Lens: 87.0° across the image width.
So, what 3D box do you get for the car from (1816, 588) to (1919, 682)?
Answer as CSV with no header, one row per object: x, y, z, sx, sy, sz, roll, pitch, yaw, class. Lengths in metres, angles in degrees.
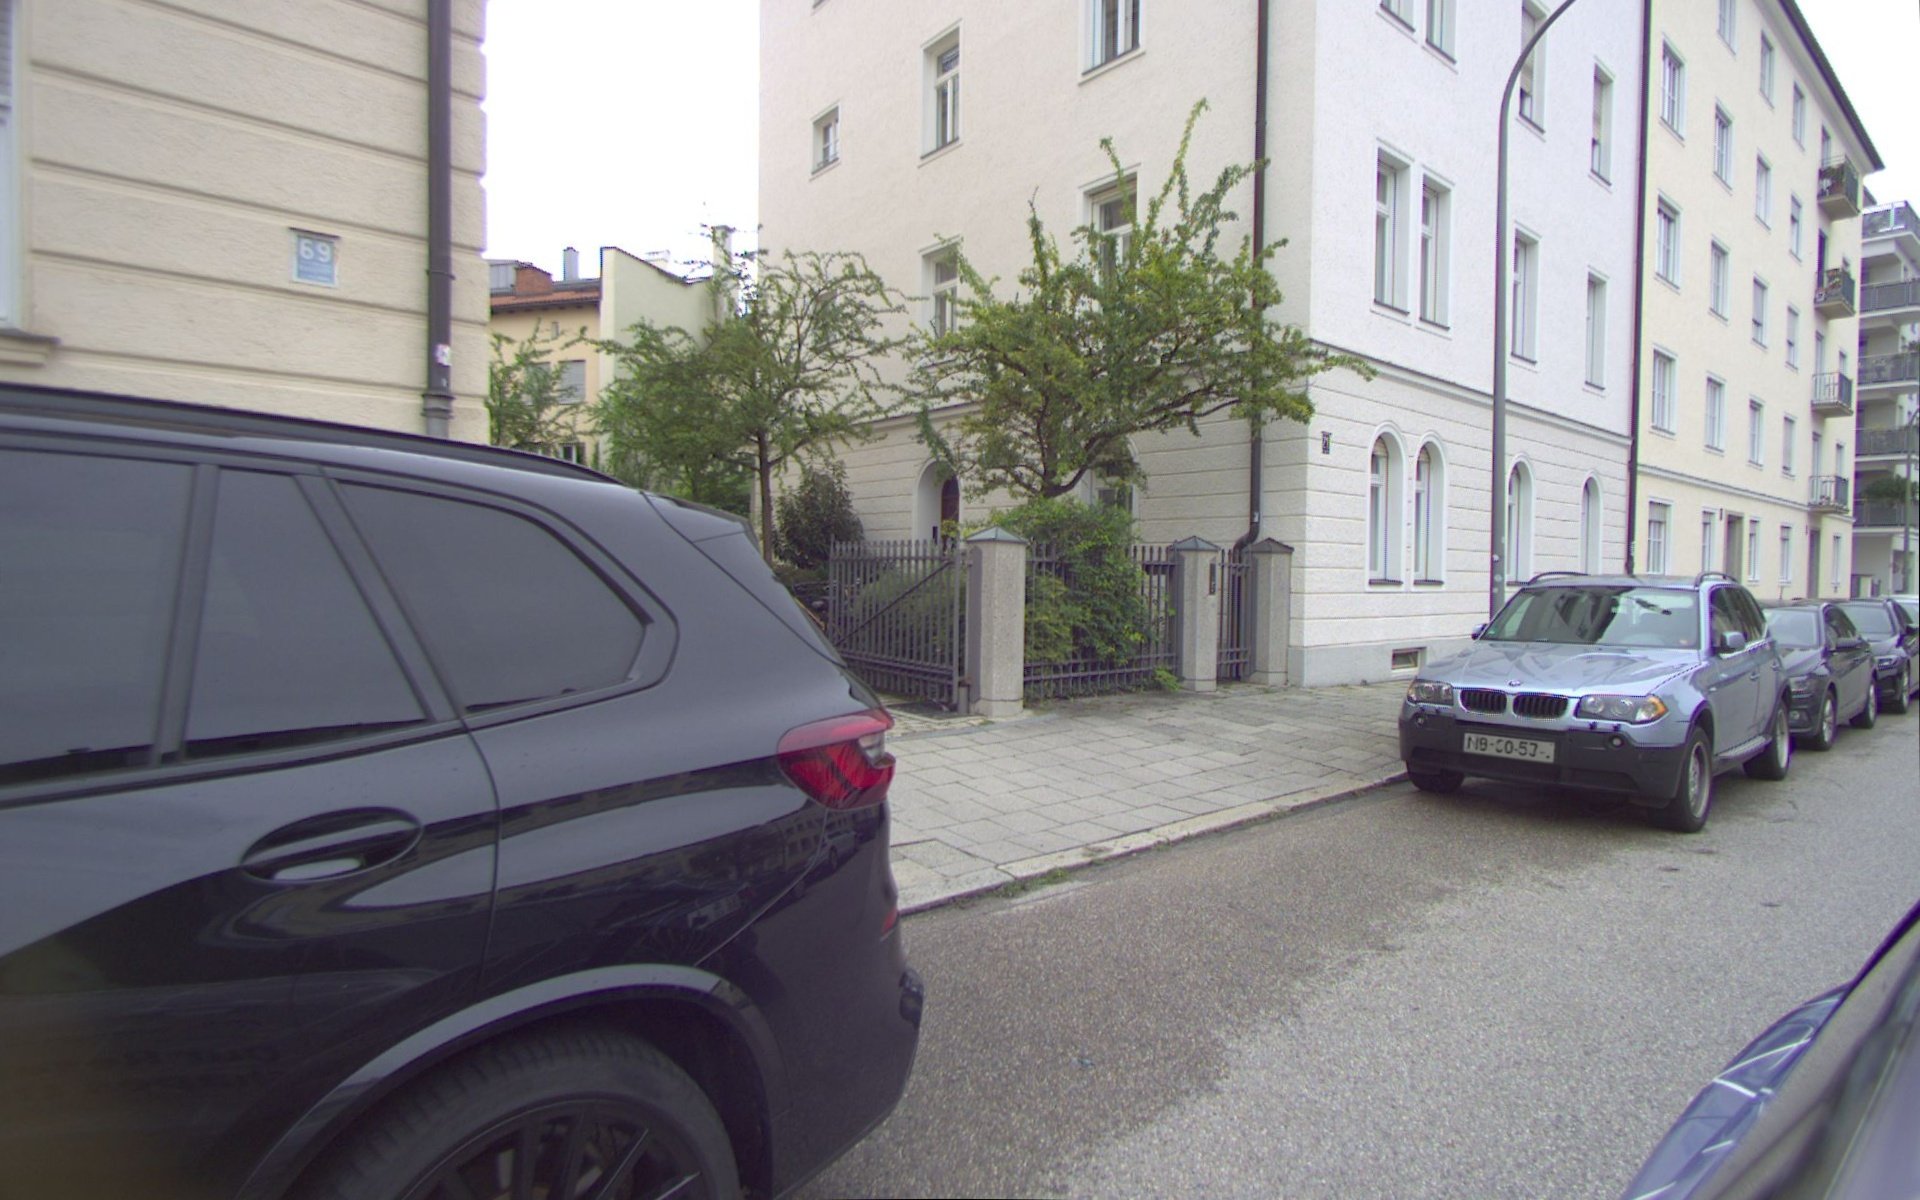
16.337,0.532,17.592,4.096,1.445,1.682,-1,2,-42,car

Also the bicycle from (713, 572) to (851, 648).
-2.570,0.124,14.741,1.916,1.027,0.581,-2,1,-35,bicycle

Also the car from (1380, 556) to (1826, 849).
5.125,0.529,7.798,4.380,1.654,1.725,-1,2,-41,car

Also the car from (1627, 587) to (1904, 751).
8.973,0.607,11.163,4.016,1.445,1.682,-1,2,-41,car

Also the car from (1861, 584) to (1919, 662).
20.293,0.439,21.199,4.096,1.500,1.682,-1,2,-42,car

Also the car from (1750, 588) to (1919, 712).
12.693,0.587,14.298,4.316,1.445,1.682,-1,2,-42,car

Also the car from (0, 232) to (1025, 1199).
-2.280,0.465,1.322,4.780,1.738,1.872,-1,1,-40,car

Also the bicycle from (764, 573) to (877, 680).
-1.718,0.273,12.162,0.570,1.107,1.880,-1,4,-34,bicycle

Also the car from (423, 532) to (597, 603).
-11.020,-0.837,25.152,1.904,1.567,4.231,2,3,11,car

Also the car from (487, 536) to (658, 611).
-8.806,-0.654,23.422,1.754,1.533,4.231,2,3,11,car

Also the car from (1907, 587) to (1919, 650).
23.951,0.421,24.060,4.366,1.427,1.682,-1,2,-41,car
